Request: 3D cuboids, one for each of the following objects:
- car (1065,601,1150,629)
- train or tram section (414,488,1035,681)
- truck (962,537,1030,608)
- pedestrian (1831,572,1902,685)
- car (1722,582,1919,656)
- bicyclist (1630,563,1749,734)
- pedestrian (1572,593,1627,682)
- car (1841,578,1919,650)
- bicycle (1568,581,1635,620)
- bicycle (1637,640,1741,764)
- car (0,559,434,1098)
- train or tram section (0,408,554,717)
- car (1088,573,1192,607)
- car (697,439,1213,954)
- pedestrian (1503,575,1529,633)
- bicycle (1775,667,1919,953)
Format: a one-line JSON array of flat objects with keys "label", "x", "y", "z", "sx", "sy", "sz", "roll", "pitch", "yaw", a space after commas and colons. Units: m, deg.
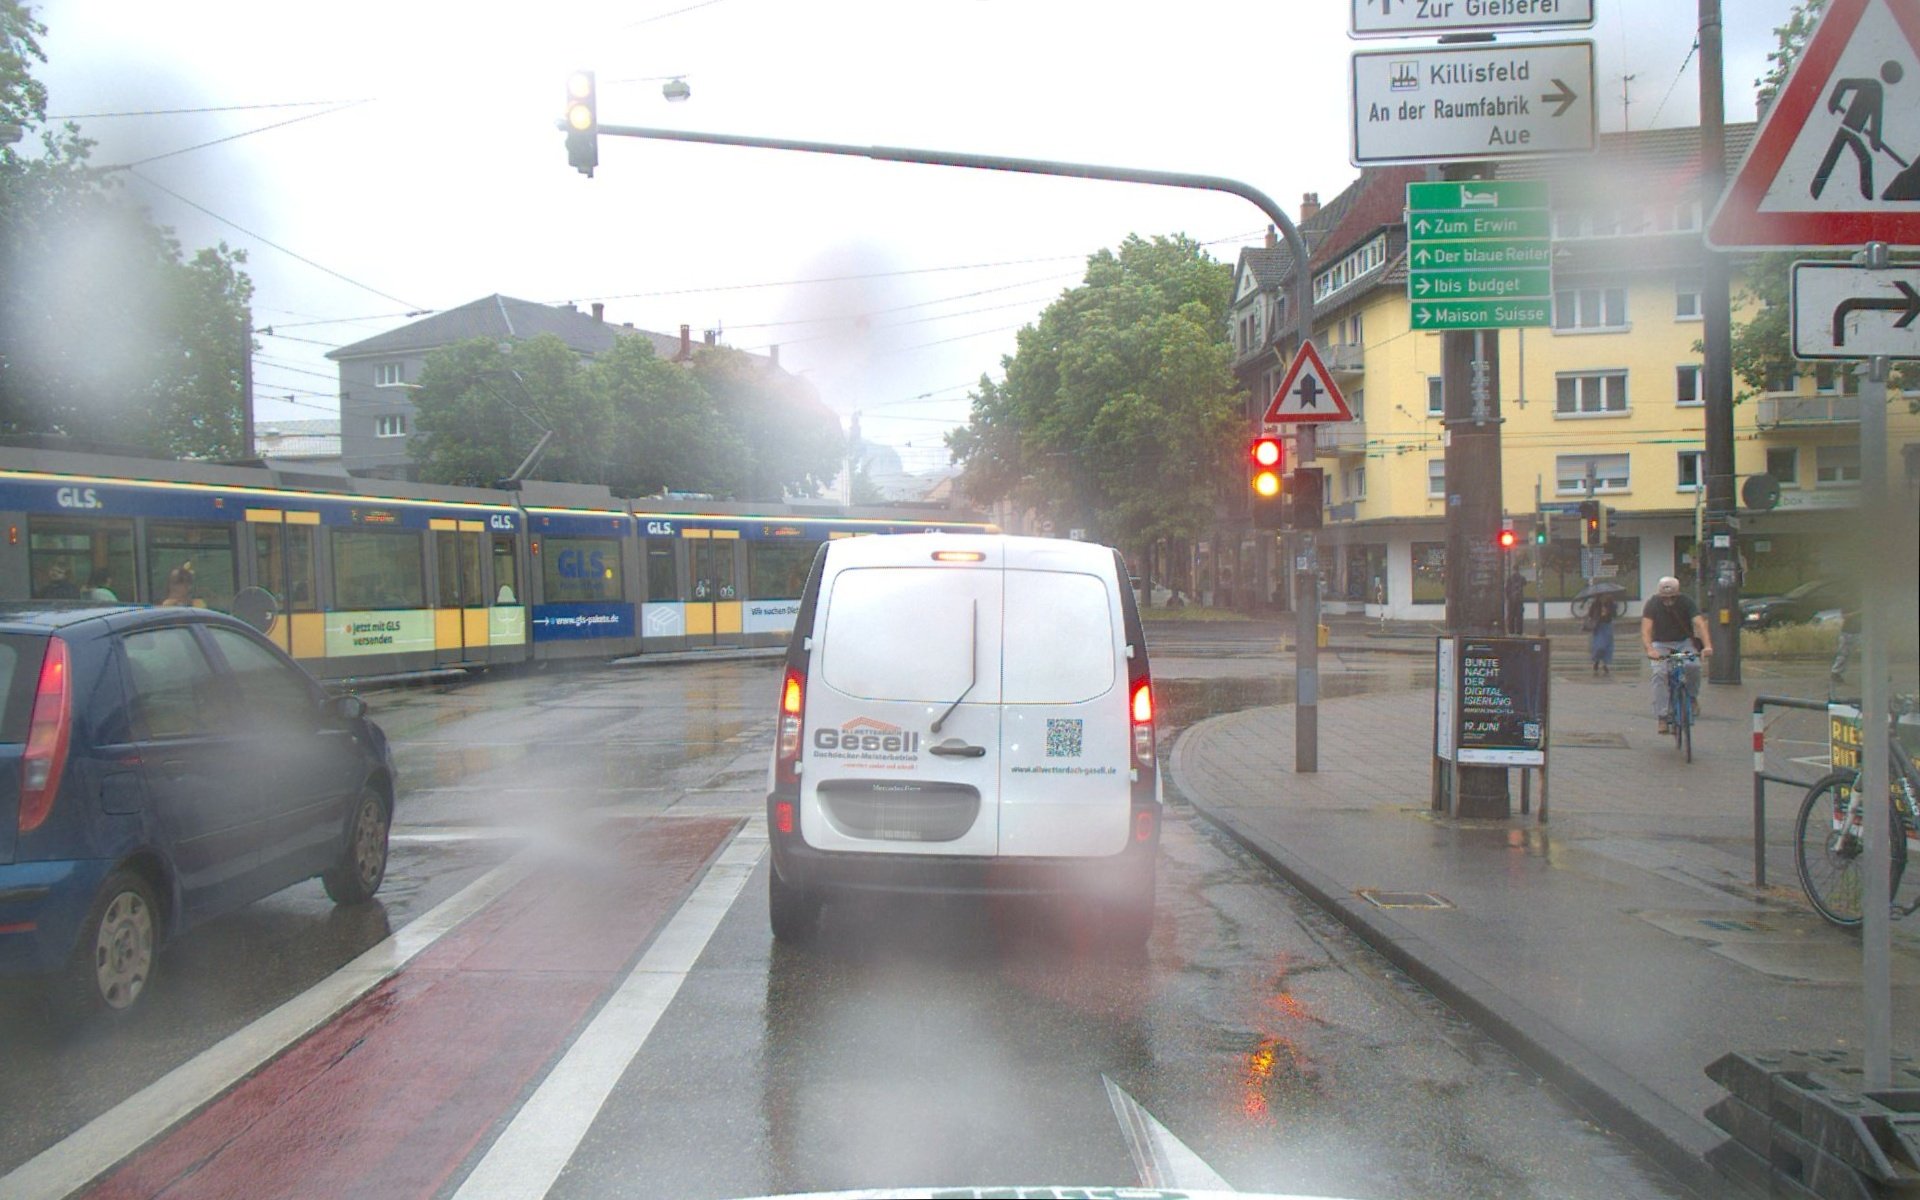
[{"label": "car", "x": 6.300, "y": 0.633, "z": 70.733, "sx": 3.378, "sy": 1.150, "sz": 1.469, "roll": 0, "pitch": 0, "yaw": -9}, {"label": "train or tram section", "x": -4.332, "y": -0.214, "z": 36.825, "sx": 3.486, "sy": 3.472, "sz": 15.426, "roll": 1, "pitch": 0, "yaw": 39}, {"label": "truck", "x": 2.665, "y": -2.032, "z": 129.830, "sx": 3.403, "sy": 5.176, "sz": 15.286, "roll": 0, "pitch": 0, "yaw": -6}, {"label": "pedestrian", "x": 13.997, "y": 0.432, "z": 25.571, "sx": 0.886, "sy": 1.698, "sz": 1.019, "roll": 0, "pitch": 0, "yaw": 25}, {"label": "car", "x": 20.857, "y": 0.462, "z": 39.085, "sx": 4.832, "sy": 1.672, "sz": 2.001, "roll": 0, "pitch": -2, "yaw": 11}, {"label": "bicyclist", "x": 7.054, "y": 0.453, "z": 16.037, "sx": 0.859, "sy": 1.611, "sz": 0.861, "roll": 0, "pitch": 0, "yaw": 9}, {"label": "pedestrian", "x": 11.384, "y": 0.663, "z": 29.441, "sx": 0.809, "sy": 1.561, "sz": 0.614, "roll": 1, "pitch": 0, "yaw": -39}, {"label": "car", "x": 21.431, "y": 0.293, "z": 35.783, "sx": 3.854, "sy": 1.516, "sz": 1.808, "roll": 0, "pitch": 1, "yaw": 15}, {"label": "bicycle", "x": 21.547, "y": 0.006, "z": 55.603, "sx": 2.056, "sy": 1.283, "sz": 0.532, "roll": 0, "pitch": 1, "yaw": 14}, {"label": "bicycle", "x": 7.061, "y": 0.957, "z": 16.086, "sx": 0.449, "sy": 1.045, "sz": 1.903, "roll": 0, "pitch": 1, "yaw": 9}, {"label": "car", "x": -3.608, "y": 0.673, "z": 6.820, "sx": 1.692, "sy": 1.606, "sz": 3.820, "roll": 0, "pitch": 0, "yaw": -1}, {"label": "train or tram section", "x": -11.215, "y": -0.440, "z": 24.416, "sx": 3.439, "sy": 3.574, "sz": 13.665, "roll": 1, "pitch": 0, "yaw": 18}, {"label": "car", "x": 7.496, "y": -0.416, "z": 69.032, "sx": 4.088, "sy": 1.362, "sz": 1.518, "roll": 0, "pitch": 1, "yaw": -8}, {"label": "car", "x": -0.053, "y": 0.390, "z": 9.091, "sx": 2.058, "sy": 2.047, "sz": 4.962, "roll": 0, "pitch": 0, "yaw": -1}, {"label": "pedestrian", "x": 14.662, "y": 0.107, "z": 43.641, "sx": 0.607, "sy": 1.526, "sz": 0.553, "roll": 0, "pitch": 0, "yaw": 16}, {"label": "bicycle", "x": 4.253, "y": 0.910, "z": 7.091, "sx": 0.503, "sy": 1.126, "sz": 2.017, "roll": 3, "pitch": 0, "yaw": 1}]
